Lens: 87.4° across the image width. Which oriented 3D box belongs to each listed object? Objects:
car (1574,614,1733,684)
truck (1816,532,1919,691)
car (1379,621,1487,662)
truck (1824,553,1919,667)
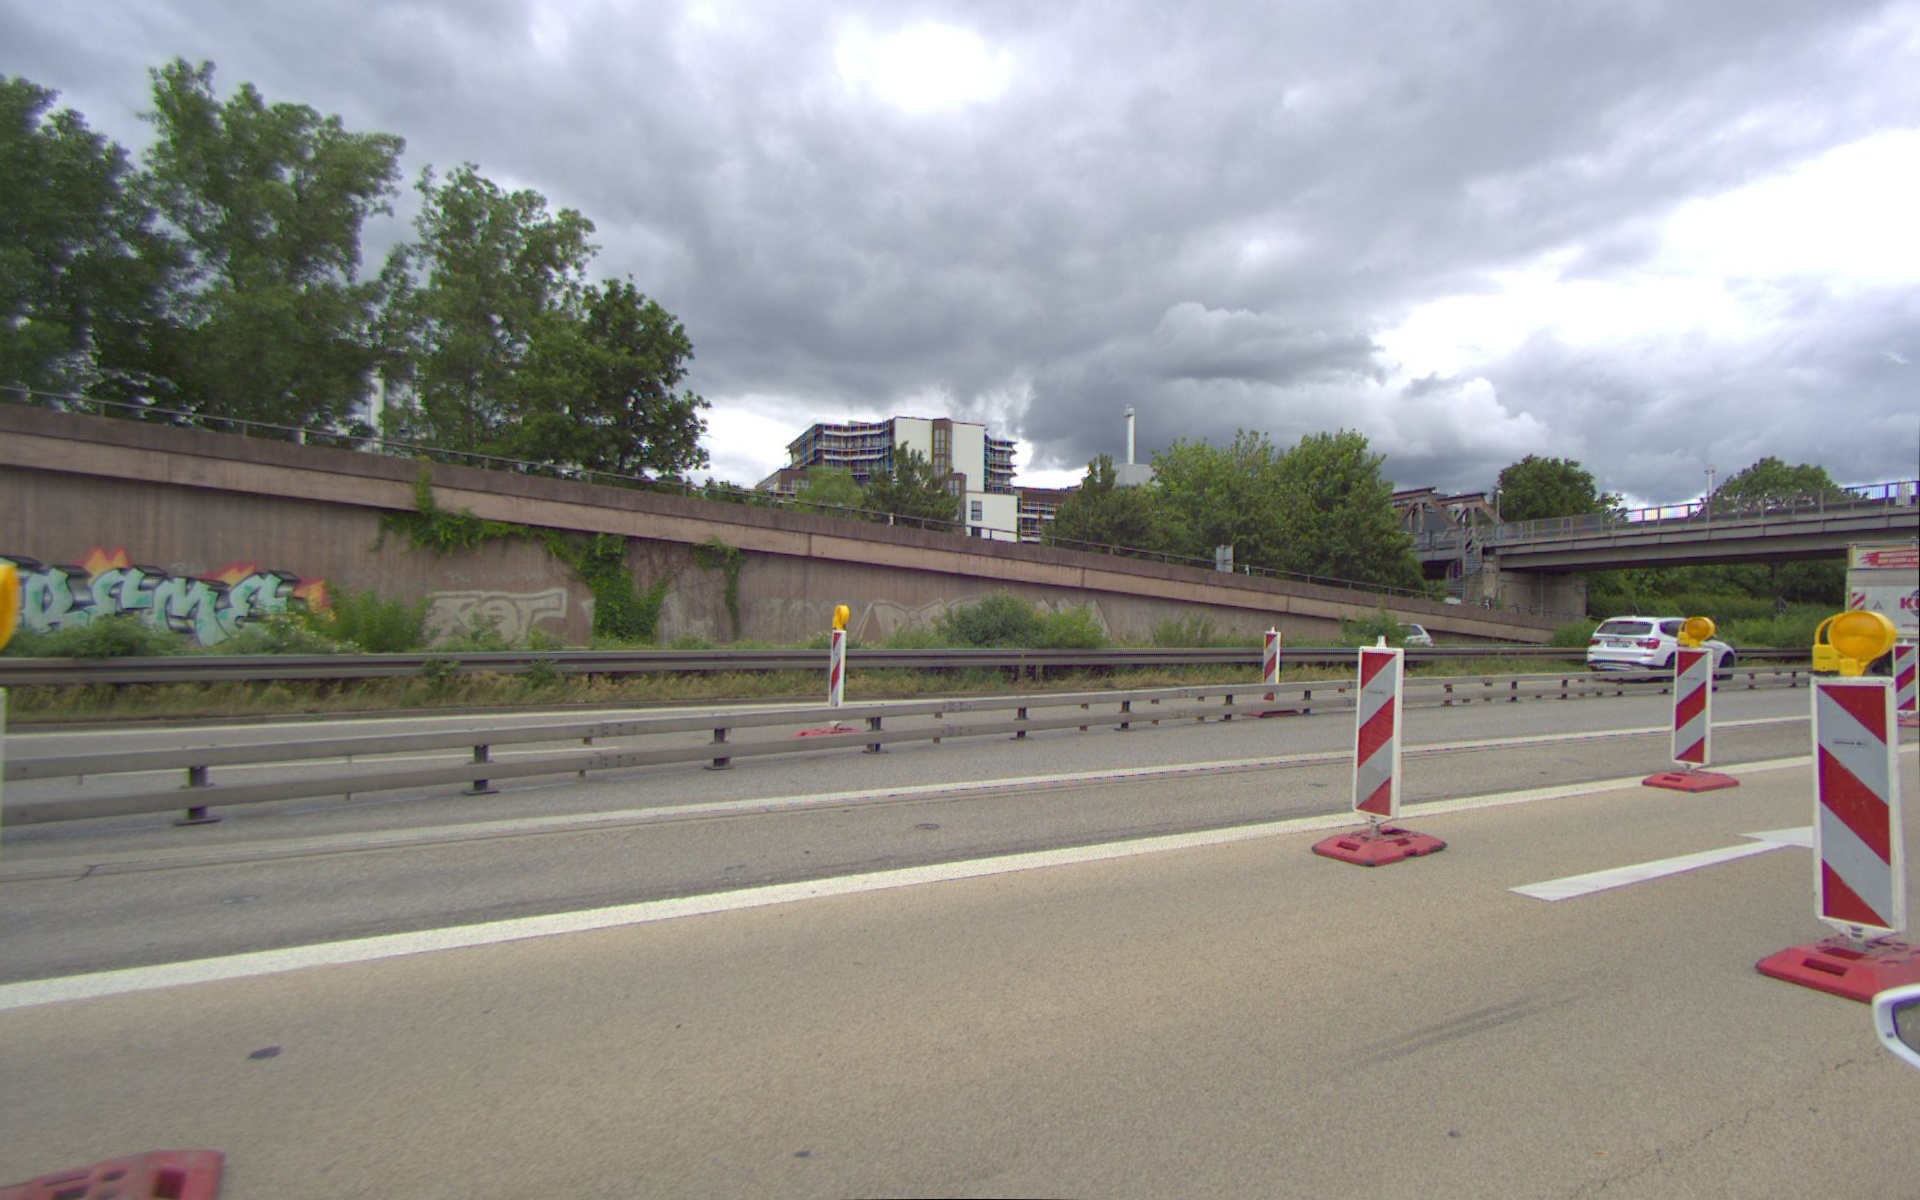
[{"bbox_3d":[18.201,1.270,26.329,4.242,1.662,1.845,2,-1,-31],"label":"car"},{"bbox_3d":[26.254,0.401,26.104,10.034,3.677,2.939,2,-1,-30],"label":"truck"},{"bbox_3d":[17.791,1.557,37.756,3.935,1.471,1.880,2,-2,-32],"label":"car"},{"bbox_3d":[33.214,0.446,34.731,7.656,3.603,2.978,2,-2,-33],"label":"truck"}]
